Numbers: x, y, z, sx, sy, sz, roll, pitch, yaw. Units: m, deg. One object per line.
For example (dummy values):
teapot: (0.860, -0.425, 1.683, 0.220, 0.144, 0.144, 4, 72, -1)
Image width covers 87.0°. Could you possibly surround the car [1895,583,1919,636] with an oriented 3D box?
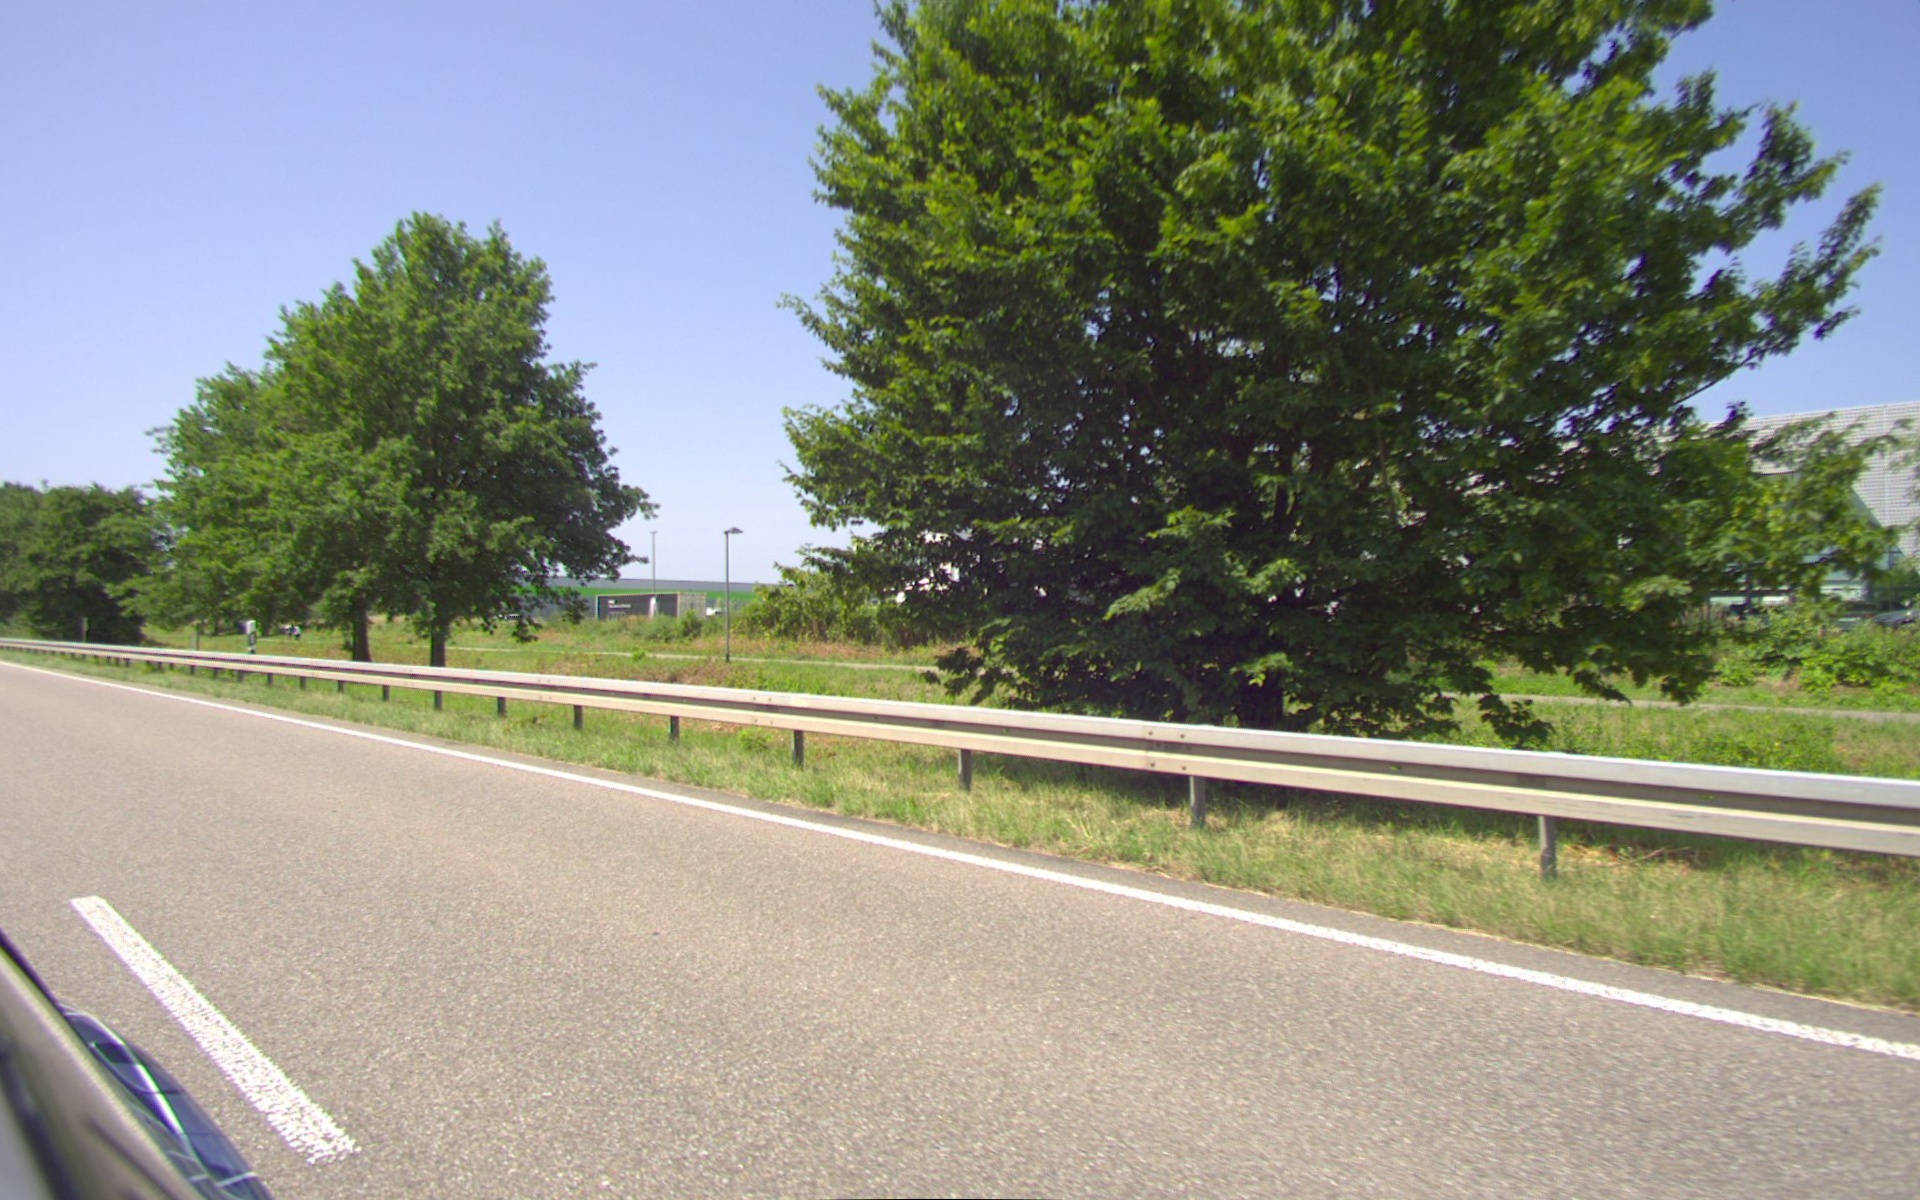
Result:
car: (30.235, 0.272, 29.229, 4.663, 1.549, 1.728, -1, -3, 42)
